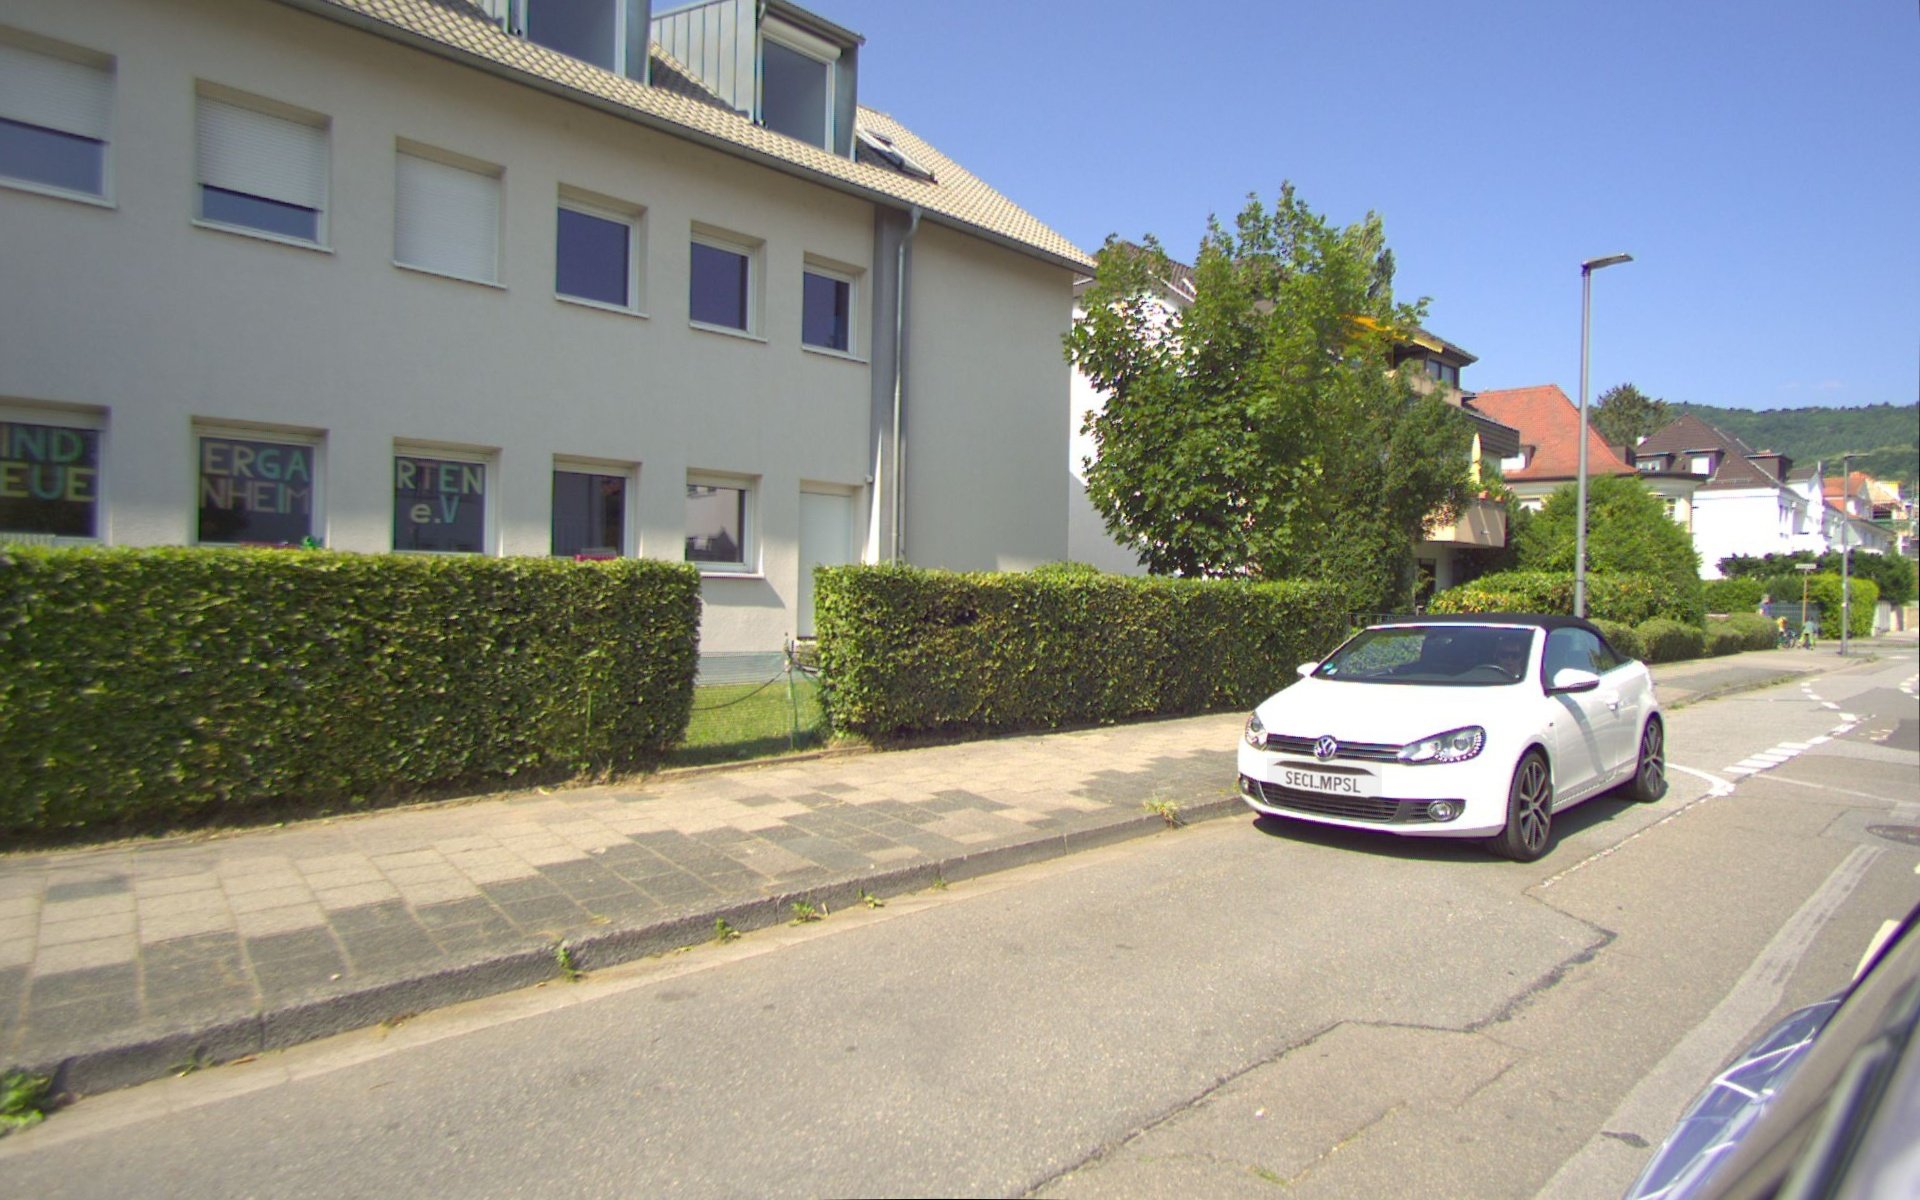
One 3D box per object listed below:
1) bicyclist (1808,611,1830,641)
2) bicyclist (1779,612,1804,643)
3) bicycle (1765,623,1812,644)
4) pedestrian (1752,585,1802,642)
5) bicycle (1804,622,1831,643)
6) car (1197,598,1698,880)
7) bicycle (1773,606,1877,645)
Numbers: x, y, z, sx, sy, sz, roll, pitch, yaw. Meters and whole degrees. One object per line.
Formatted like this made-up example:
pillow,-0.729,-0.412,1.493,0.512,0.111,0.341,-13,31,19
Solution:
bicyclist,28.093,0.851,33.093,0.399,0.941,0.651,1,1,28
bicyclist,26.806,0.874,32.625,0.605,0.945,0.394,2,1,38
bicycle,26.757,1.063,32.688,1.145,0.607,0.397,2,1,38
pedestrian,28.093,0.433,34.807,0.889,1.896,1.183,1,1,16
bicycle,27.936,1.047,32.990,0.399,0.607,1.162,2,1,27
car,3.580,0.721,7.097,4.003,1.420,1.743,0,-1,-41
bicycle,28.805,0.832,33.769,0.846,1.173,2.716,1,1,-9
